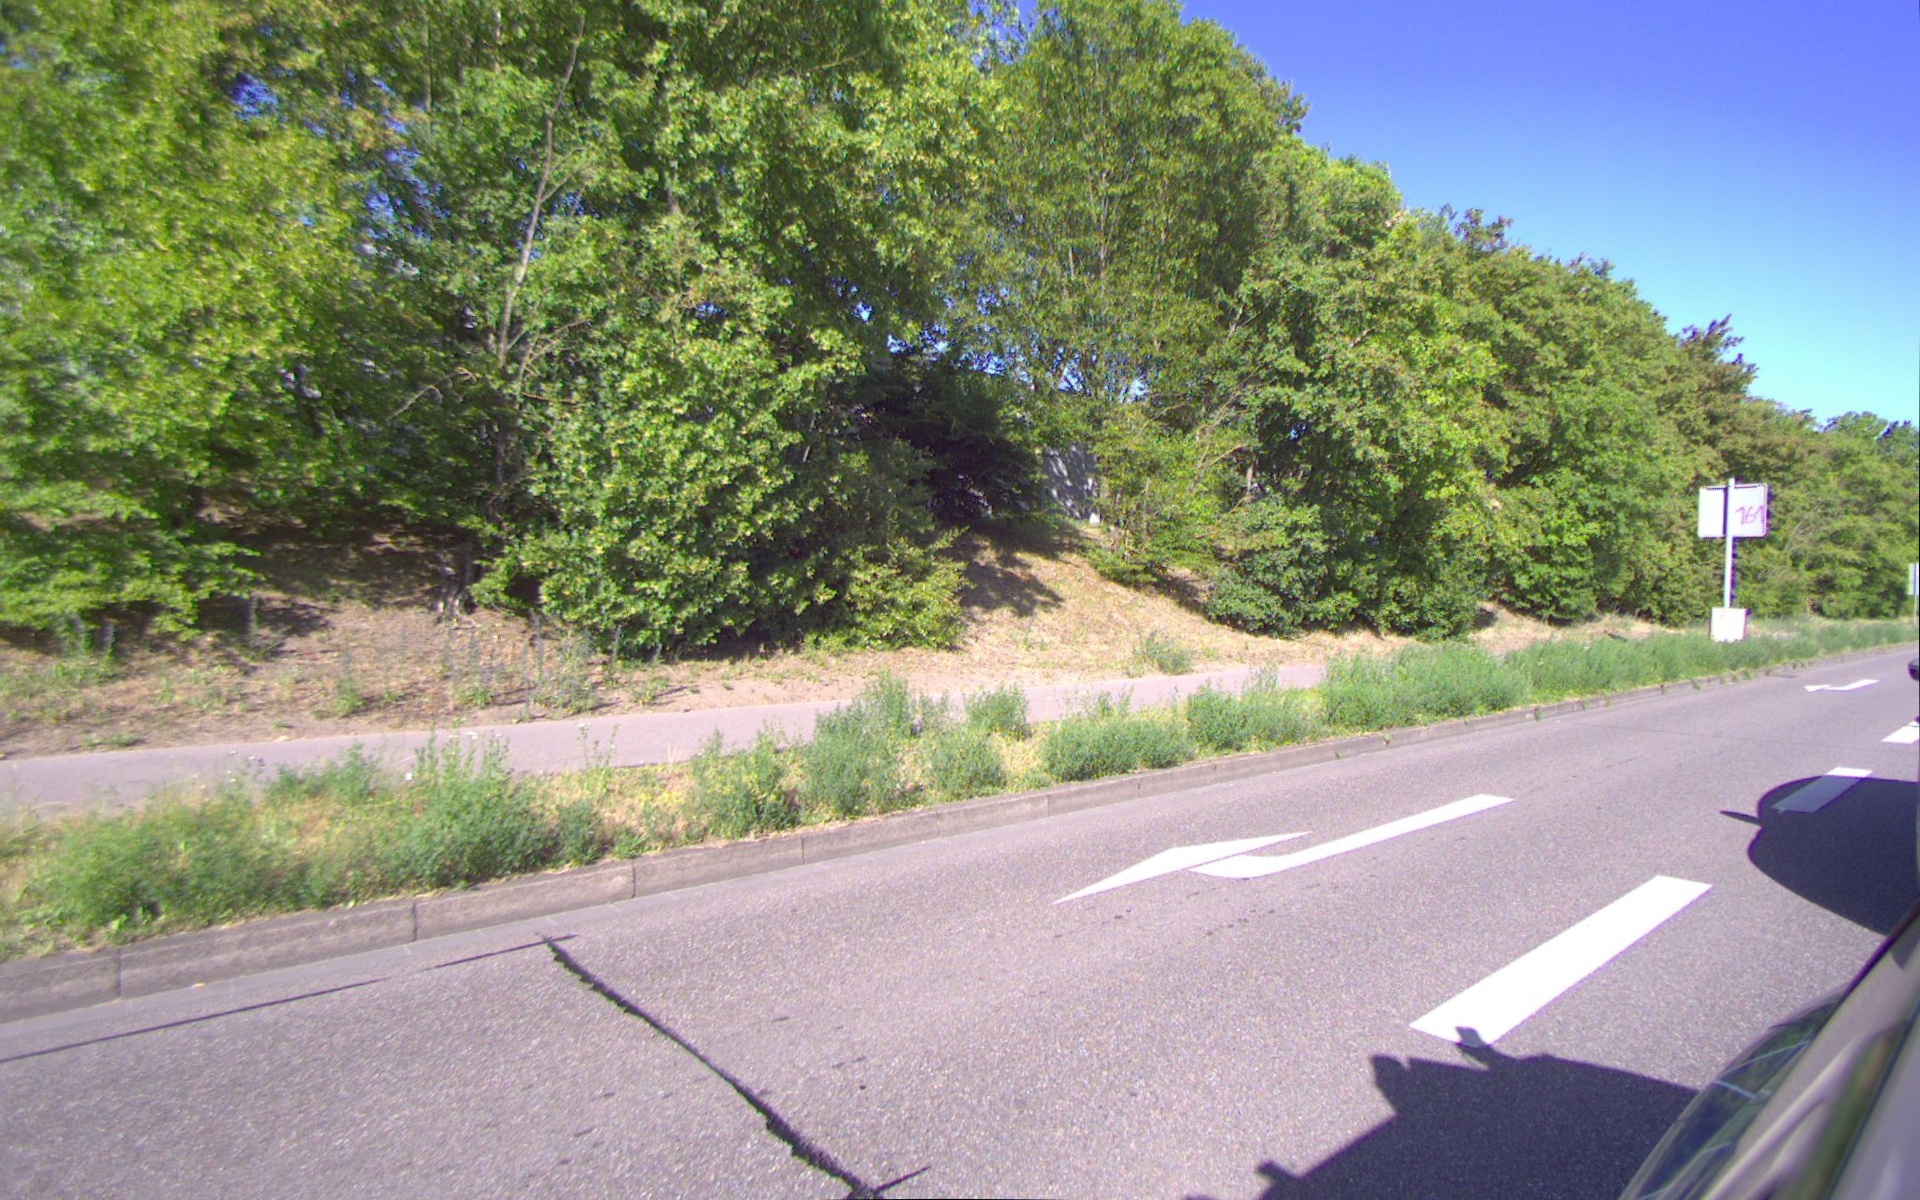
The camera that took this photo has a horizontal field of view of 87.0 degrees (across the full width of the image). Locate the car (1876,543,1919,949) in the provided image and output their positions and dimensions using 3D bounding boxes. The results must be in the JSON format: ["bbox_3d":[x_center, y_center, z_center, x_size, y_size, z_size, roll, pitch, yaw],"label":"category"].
[{"bbox_3d":[5.937,0.593,4.708,4.026,1.631,2.023,0,0,-41],"label":"car"}]
